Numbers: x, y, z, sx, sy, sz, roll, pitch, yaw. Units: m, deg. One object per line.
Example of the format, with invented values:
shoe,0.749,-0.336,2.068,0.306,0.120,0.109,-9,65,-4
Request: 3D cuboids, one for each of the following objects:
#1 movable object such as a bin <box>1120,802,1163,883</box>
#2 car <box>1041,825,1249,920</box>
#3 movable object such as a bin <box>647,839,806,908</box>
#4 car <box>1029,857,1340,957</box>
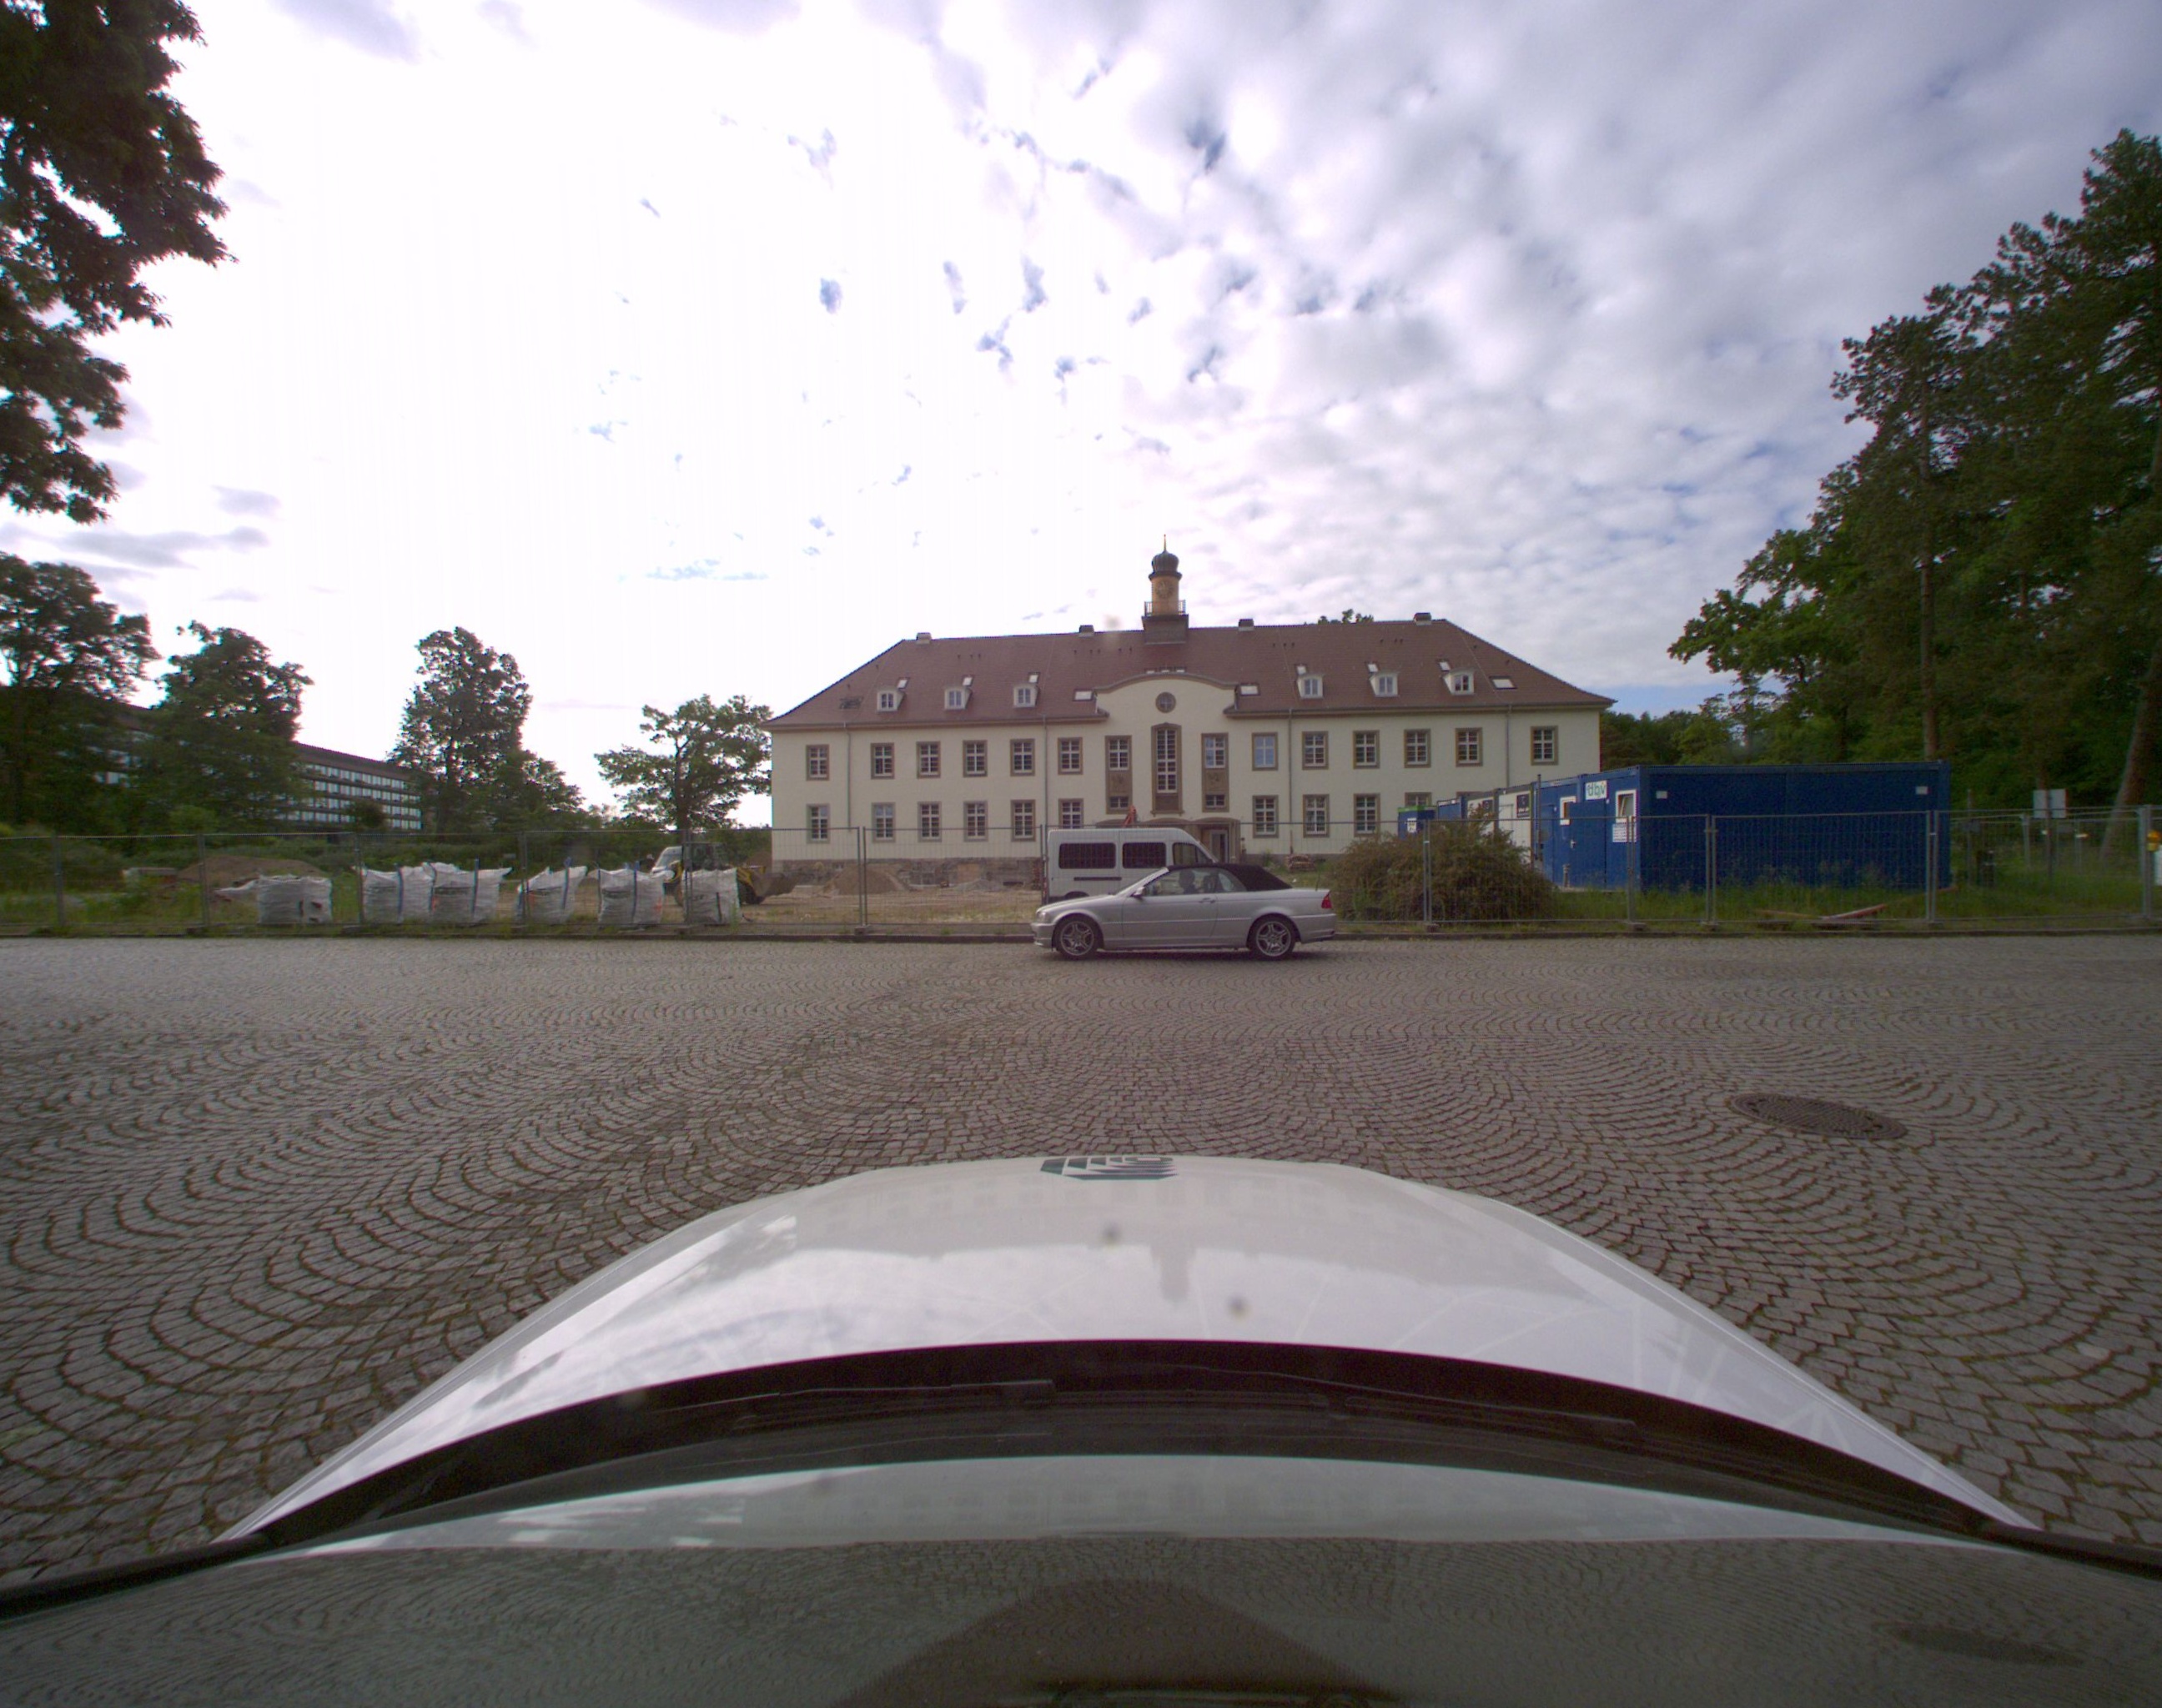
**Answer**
movable object such as a bin,2.992,-0.545,41.177,1.985,3.771,5.321,-1,0,3
car,1.704,0.492,21.516,5.234,2.344,1.914,-1,0,7
movable object such as a bin,-13.815,0.741,31.915,5.305,2.556,2.002,-1,0,4
car,1.461,0.772,12.071,4.262,1.346,1.608,-1,-2,3
